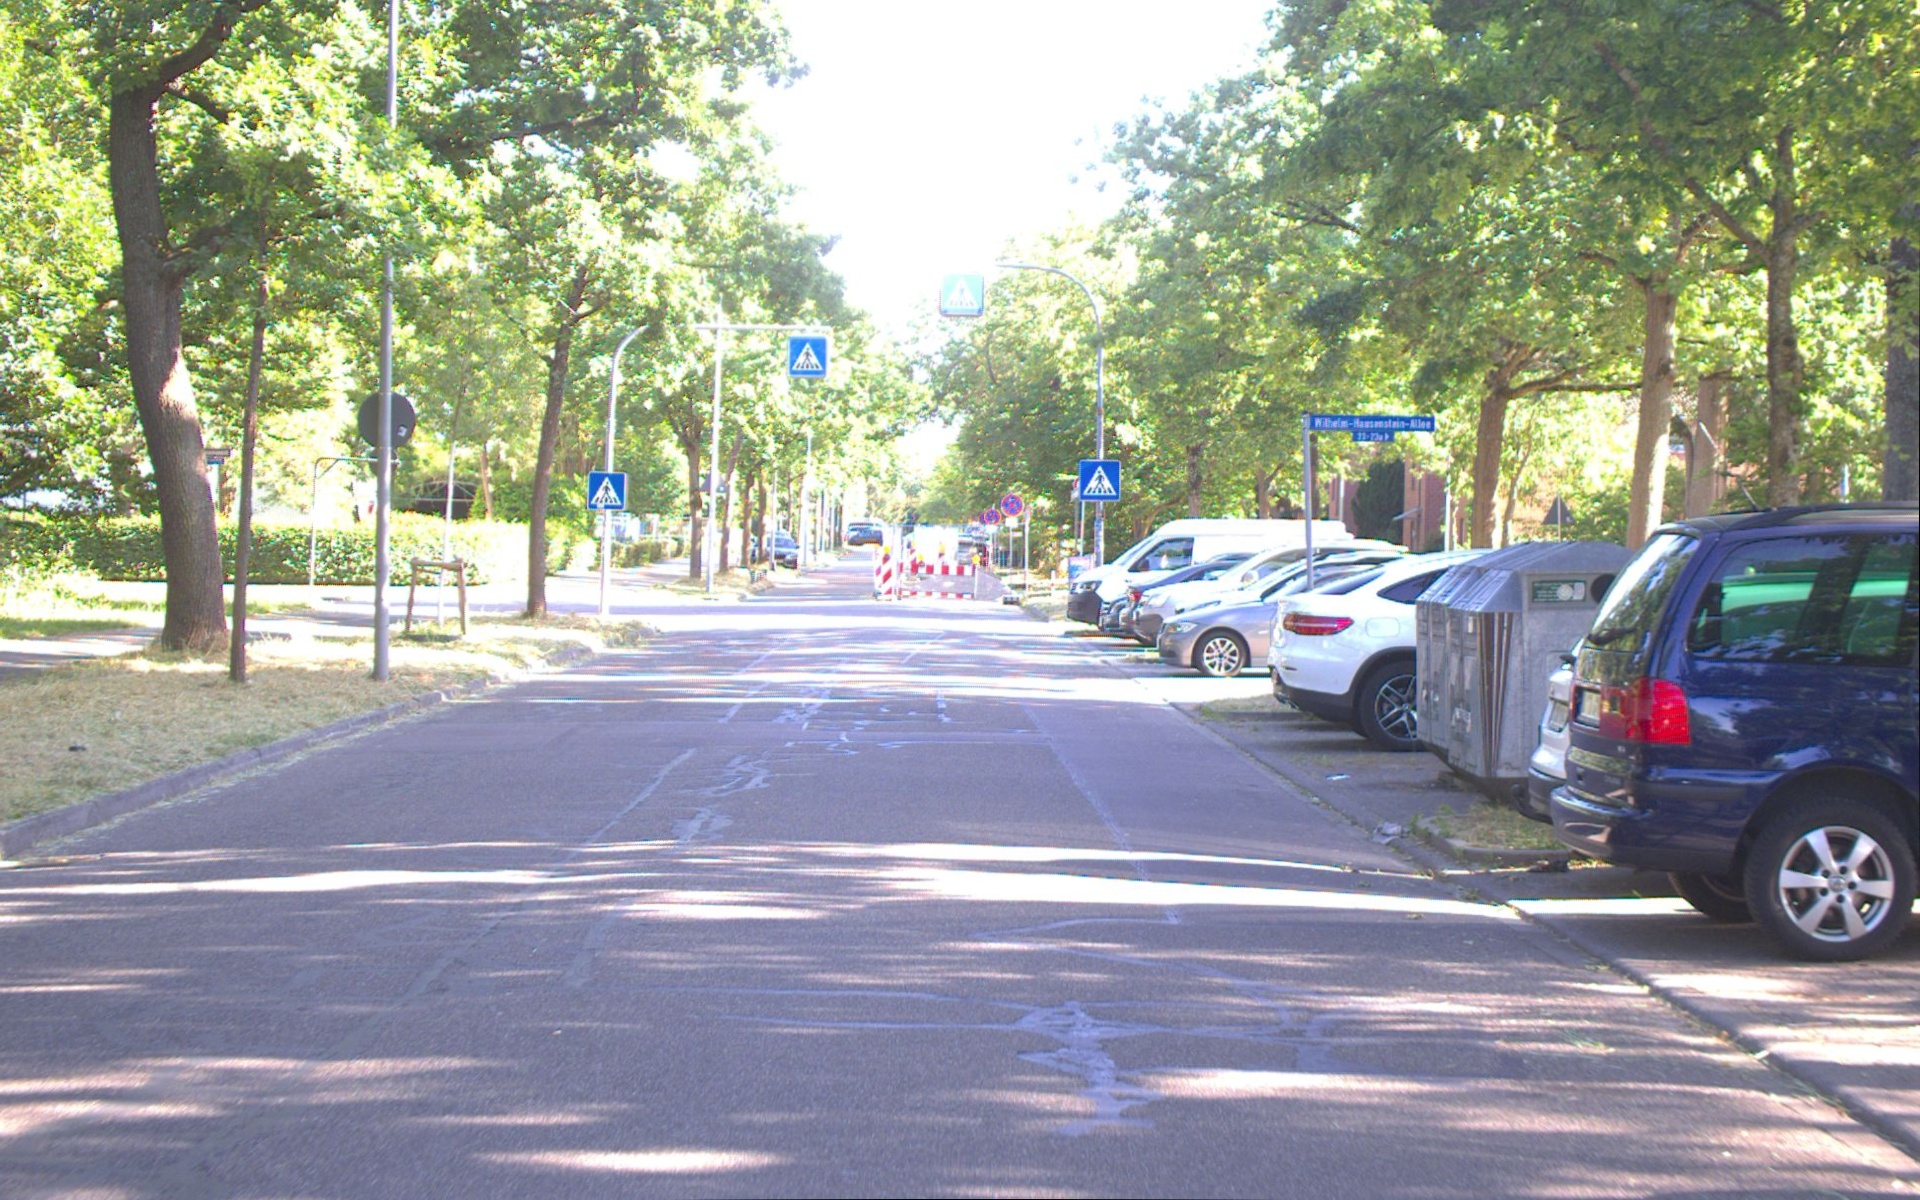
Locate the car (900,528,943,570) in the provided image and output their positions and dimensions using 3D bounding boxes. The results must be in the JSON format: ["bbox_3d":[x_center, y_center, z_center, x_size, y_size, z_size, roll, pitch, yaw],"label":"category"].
[{"bbox_3d":[-1.892,-2.499,167.656,1.993,1.962,4.000,2,1,-1],"label":"car"}]

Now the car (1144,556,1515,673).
[{"bbox_3d":[4.613,0.166,43.418,4.445,1.385,1.911,1,1,0],"label":"car"}]

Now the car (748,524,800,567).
[{"bbox_3d":[-7.786,-2.275,144.305,1.993,1.711,4.000,2,1,-1],"label":"car"}]

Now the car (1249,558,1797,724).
[{"bbox_3d":[5.064,0.351,31.389,4.670,1.450,1.917,0,1,-1],"label":"car"}]

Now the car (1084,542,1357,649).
[{"bbox_3d":[4.220,-0.089,56.257,4.212,1.563,1.934,2,1,-2],"label":"car"}]

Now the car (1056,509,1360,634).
[{"bbox_3d":[4.376,-0.510,61.327,5.187,2.098,2.083,1,1,-2],"label":"car"}]

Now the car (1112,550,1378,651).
[{"bbox_3d":[4.396,-0.006,53.558,3.987,1.428,1.901,1,1,1],"label":"car"}]

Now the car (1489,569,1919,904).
[{"bbox_3d":[4.722,0.599,16.157,4.221,1.467,1.800,0,1,1],"label":"car"}]

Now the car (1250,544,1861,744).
[{"bbox_3d":[4.783,0.332,28.124,4.670,1.575,1.917,0,1,0],"label":"car"}]

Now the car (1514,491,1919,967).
[{"bbox_3d":[4.678,0.480,13.965,4.530,1.795,1.936,0,1,0],"label":"car"}]

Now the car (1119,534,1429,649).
[{"bbox_3d":[4.626,-0.141,51.021,4.384,1.645,1.851,0,1,-2],"label":"car"}]

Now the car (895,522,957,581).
[{"bbox_3d":[-1.170,-1.656,116.829,1.993,1.926,4.000,2,1,-1],"label":"car"}]

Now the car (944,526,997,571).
[{"bbox_3d":[0.394,-2.062,138.086,1.993,1.711,4.000,2,1,-1],"label":"car"}]

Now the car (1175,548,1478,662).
[{"bbox_3d":[4.914,0.048,46.441,3.884,1.492,1.777,0,1,-1],"label":"car"}]
